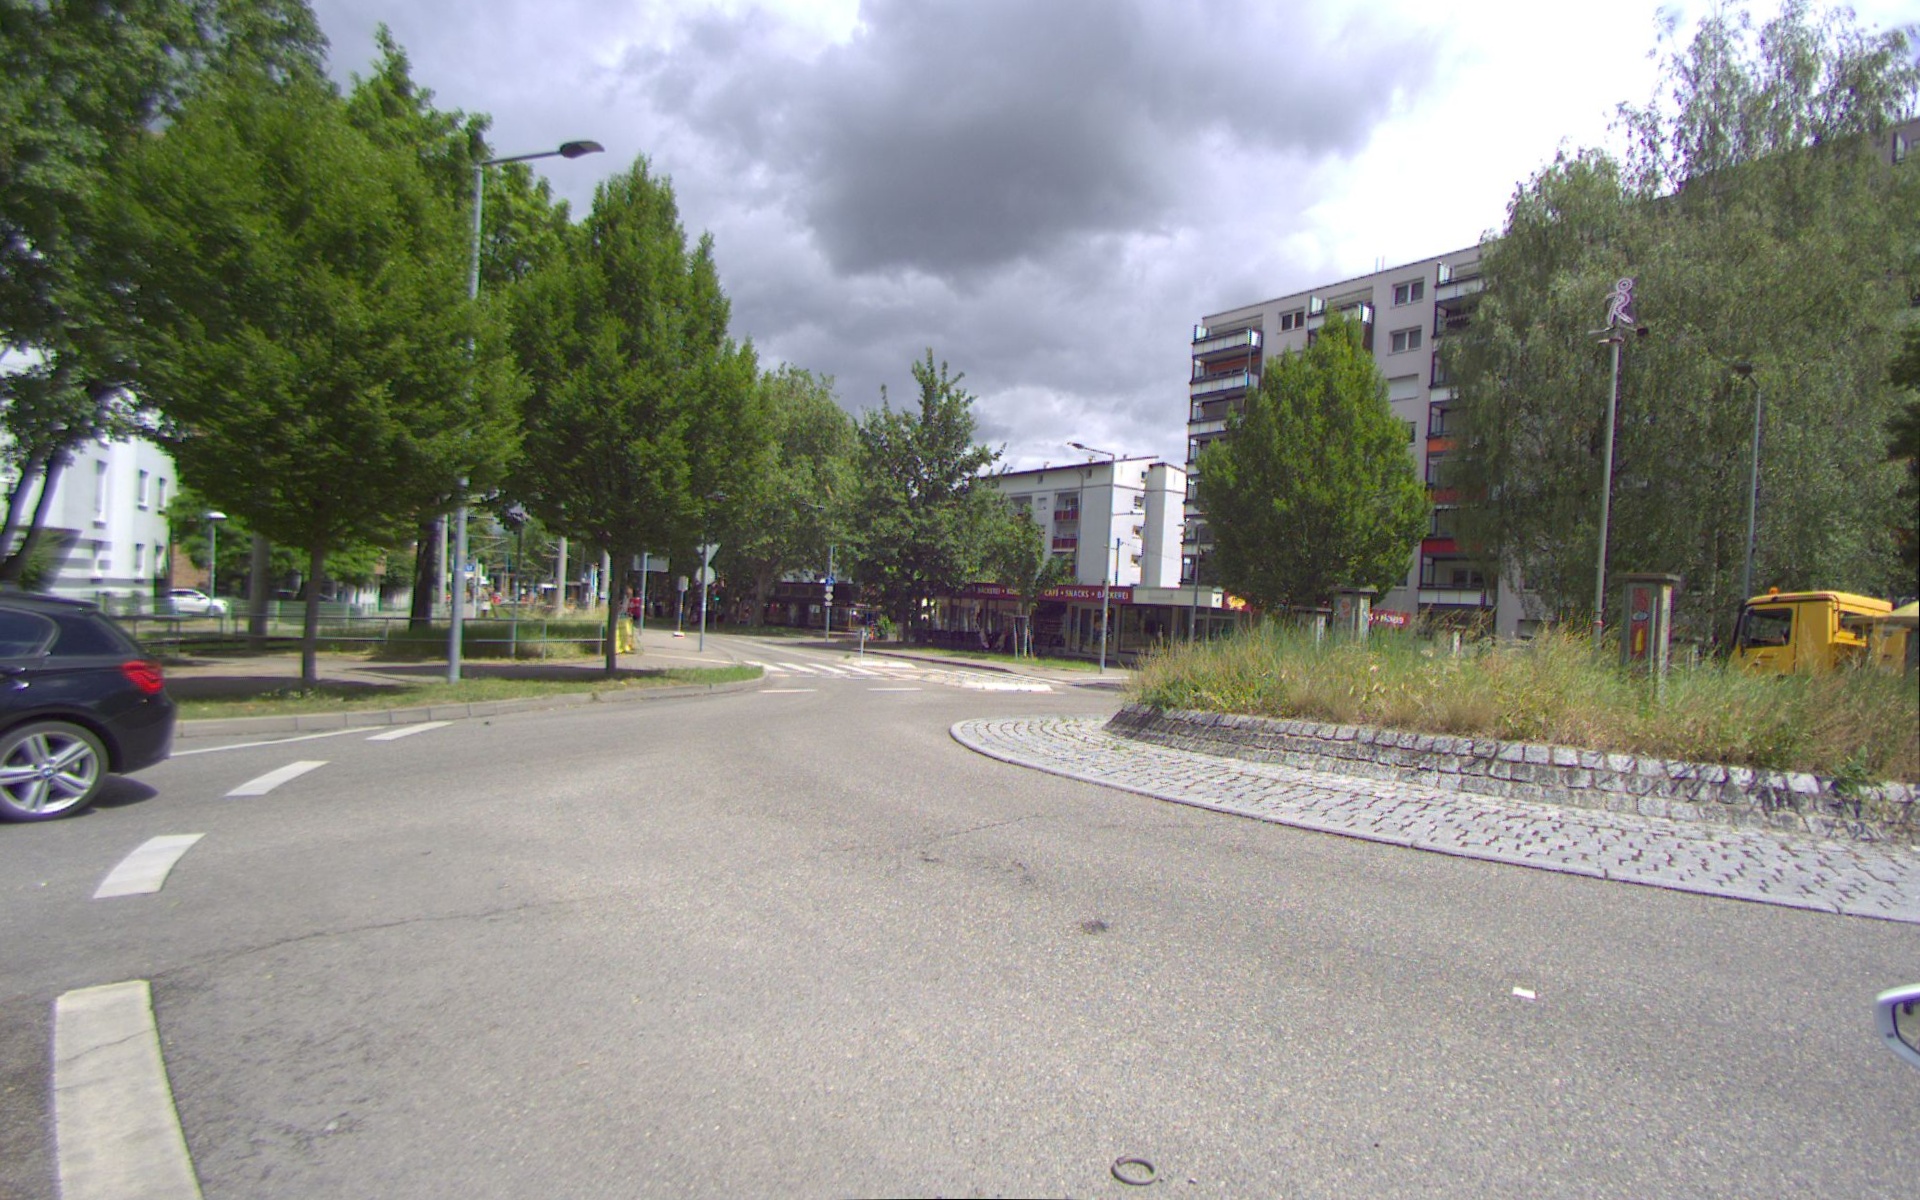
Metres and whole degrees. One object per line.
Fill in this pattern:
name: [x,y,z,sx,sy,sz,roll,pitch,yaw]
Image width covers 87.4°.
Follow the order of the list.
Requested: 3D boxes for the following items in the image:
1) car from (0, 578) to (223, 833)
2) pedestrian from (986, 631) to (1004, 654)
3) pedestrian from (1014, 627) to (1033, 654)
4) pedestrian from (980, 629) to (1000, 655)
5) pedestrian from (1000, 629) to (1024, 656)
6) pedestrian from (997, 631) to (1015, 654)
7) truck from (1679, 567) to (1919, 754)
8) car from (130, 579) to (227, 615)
car: [-7.065,0.594,5.593,1.826,1.474,4.380,4,1,29]
pedestrian: [1.912,2.290,54.472,0.710,1.217,0.695,3,-1,-22]
pedestrian: [3.395,2.181,53.626,0.711,1.399,0.693,3,-1,-29]
pedestrian: [1.589,2.215,53.390,0.869,1.342,0.606,3,-1,-28]
pedestrian: [2.735,2.242,53.081,0.872,1.342,0.814,3,2,-36]
pedestrian: [2.502,2.328,54.618,0.710,1.217,0.695,3,-1,-22]
truck: [17.286,1.067,16.762,2.950,3.075,8.453,3,-1,-17]
car: [-43.698,-0.143,56.271,3.954,1.832,1.984,3,-1,-30]
